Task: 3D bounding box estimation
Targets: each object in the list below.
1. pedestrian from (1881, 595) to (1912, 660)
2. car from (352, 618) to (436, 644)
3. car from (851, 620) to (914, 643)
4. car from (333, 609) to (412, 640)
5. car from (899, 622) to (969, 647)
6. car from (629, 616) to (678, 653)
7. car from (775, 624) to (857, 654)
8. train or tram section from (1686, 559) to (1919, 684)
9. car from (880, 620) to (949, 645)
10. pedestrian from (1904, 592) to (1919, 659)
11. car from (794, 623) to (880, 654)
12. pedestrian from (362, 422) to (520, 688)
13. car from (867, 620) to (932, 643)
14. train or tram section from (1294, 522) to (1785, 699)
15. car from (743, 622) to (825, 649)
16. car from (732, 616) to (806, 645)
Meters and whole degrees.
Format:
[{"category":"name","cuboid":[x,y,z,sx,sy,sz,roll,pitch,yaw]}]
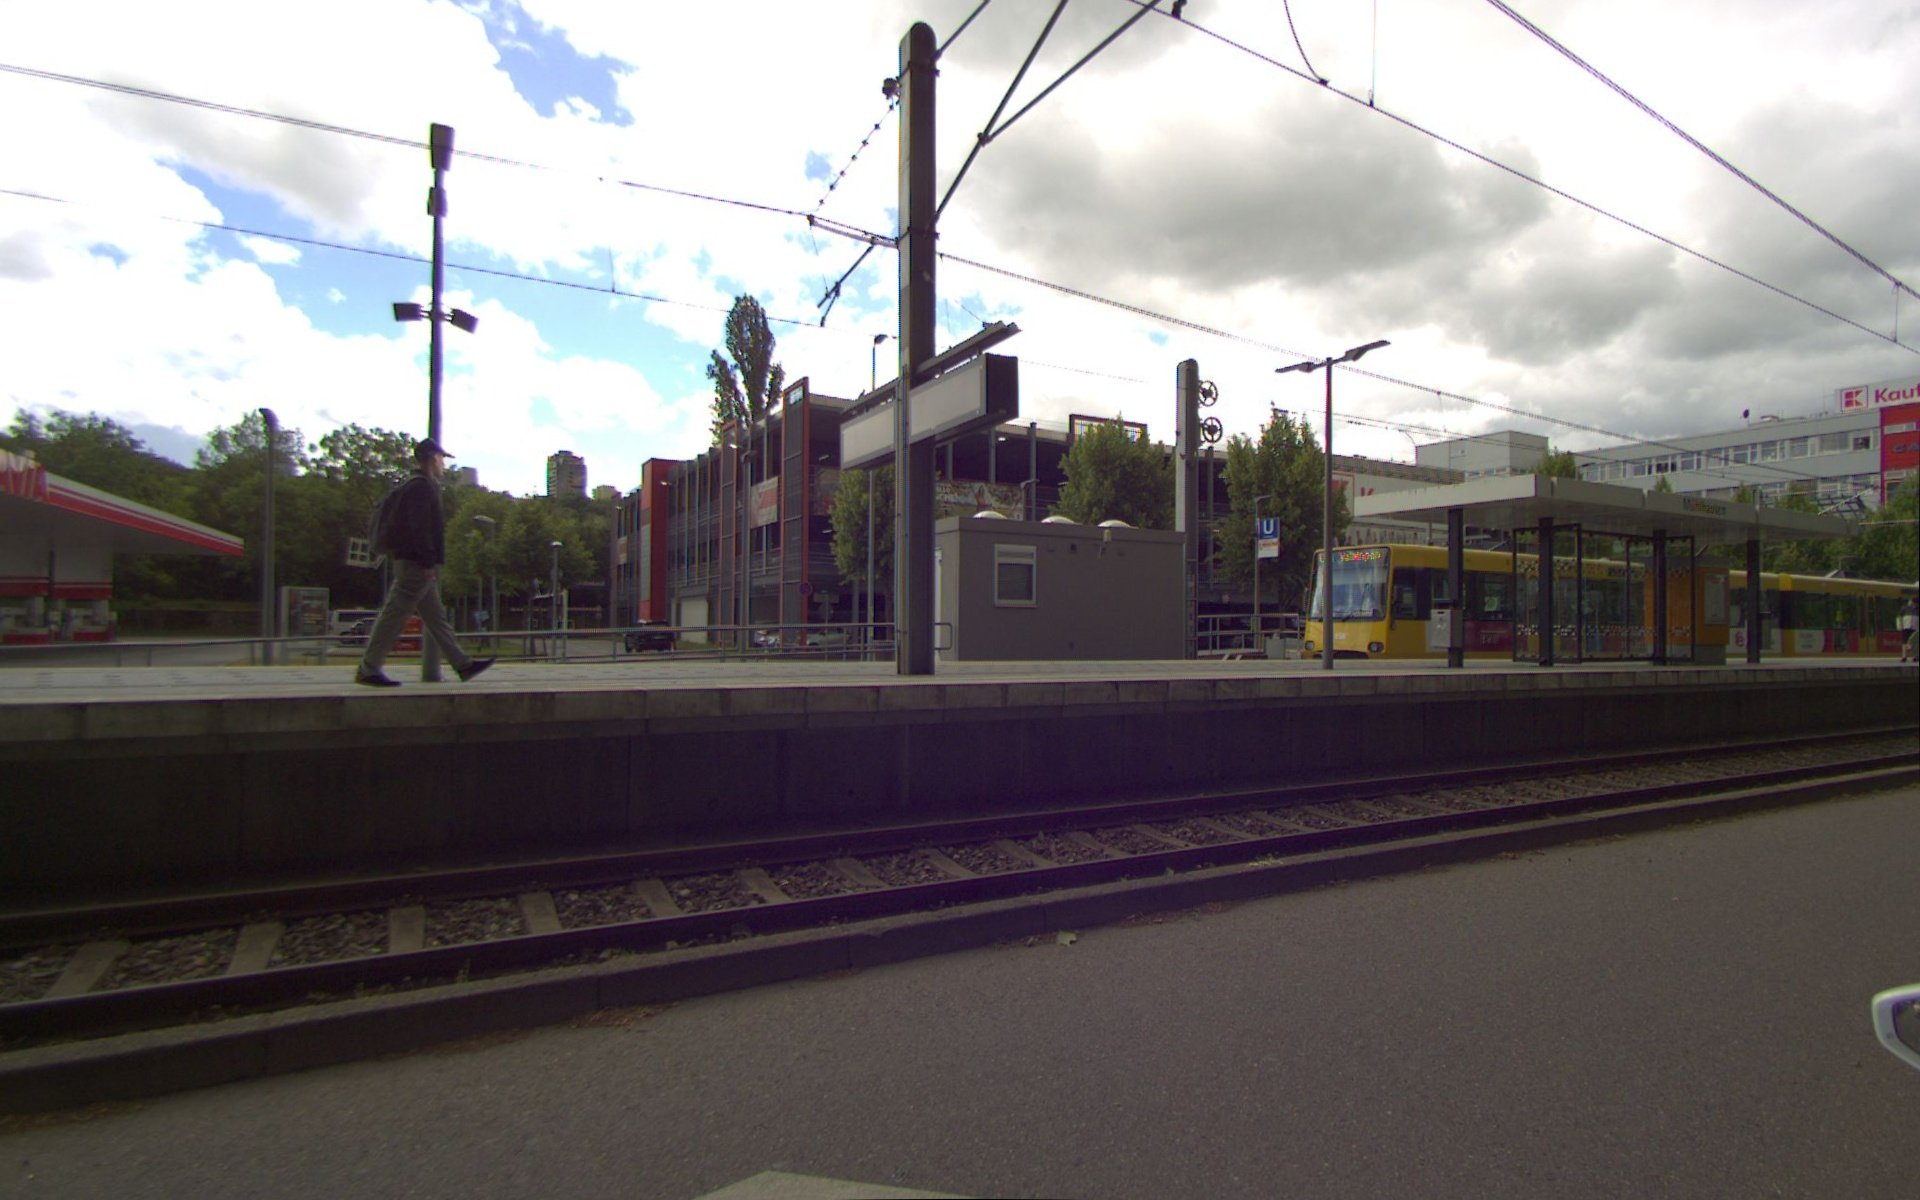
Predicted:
[{"category":"pedestrian","cuboid":[22.077,0.659,23.674,0.539,1.502,0.471,3,-3,-44]},{"category":"car","cuboid":[-31.752,1.785,56.358,4.013,1.383,1.900,2,-3,-31]},{"category":"car","cuboid":[-5.217,2.133,67.682,3.916,1.476,1.760,2,-2,-30]},{"category":"car","cuboid":[-35.166,1.500,60.209,4.013,1.775,1.900,2,-3,-32]},{"category":"car","cuboid":[-1.577,2.093,61.187,3.955,1.476,1.814,2,-2,-31]},{"category":"car","cuboid":[-15.073,1.691,49.322,1.625,1.728,3.786,1,-2,-27]},{"category":"car","cuboid":[-6.699,1.844,46.734,3.500,1.327,1.528,2,-3,-29]},{"category":"train or tram section","cuboid":[33.082,0.910,36.870,18.402,3.878,2.745,1,-3,-29]},{"category":"car","cuboid":[-2.874,2.063,63.434,3.953,1.476,1.814,2,-2,-30]},{"category":"pedestrian","cuboid":[21.816,0.583,22.620,0.570,1.502,0.521,0,-2,8]},{"category":"car","cuboid":[-5.462,1.747,44.723,3.500,1.327,1.528,2,-3,-29]},{"category":"pedestrian","cuboid":[-3.712,-0.272,7.197,0.926,1.767,0.745,2,-3,-30]},{"category":"car","cuboid":[-3.949,2.070,65.741,3.916,1.476,1.760,2,-2,-30]},{"category":"train or tram section","cuboid":[16.905,0.515,27.959,18.403,3.933,2.745,2,-3,-29]},{"category":"car","cuboid":[-8.995,1.811,51.440,3.754,1.327,1.842,2,-2,-29]},{"category":"car","cuboid":[-10.169,1.645,53.495,3.517,1.433,1.709,2,-3,-29]}]
